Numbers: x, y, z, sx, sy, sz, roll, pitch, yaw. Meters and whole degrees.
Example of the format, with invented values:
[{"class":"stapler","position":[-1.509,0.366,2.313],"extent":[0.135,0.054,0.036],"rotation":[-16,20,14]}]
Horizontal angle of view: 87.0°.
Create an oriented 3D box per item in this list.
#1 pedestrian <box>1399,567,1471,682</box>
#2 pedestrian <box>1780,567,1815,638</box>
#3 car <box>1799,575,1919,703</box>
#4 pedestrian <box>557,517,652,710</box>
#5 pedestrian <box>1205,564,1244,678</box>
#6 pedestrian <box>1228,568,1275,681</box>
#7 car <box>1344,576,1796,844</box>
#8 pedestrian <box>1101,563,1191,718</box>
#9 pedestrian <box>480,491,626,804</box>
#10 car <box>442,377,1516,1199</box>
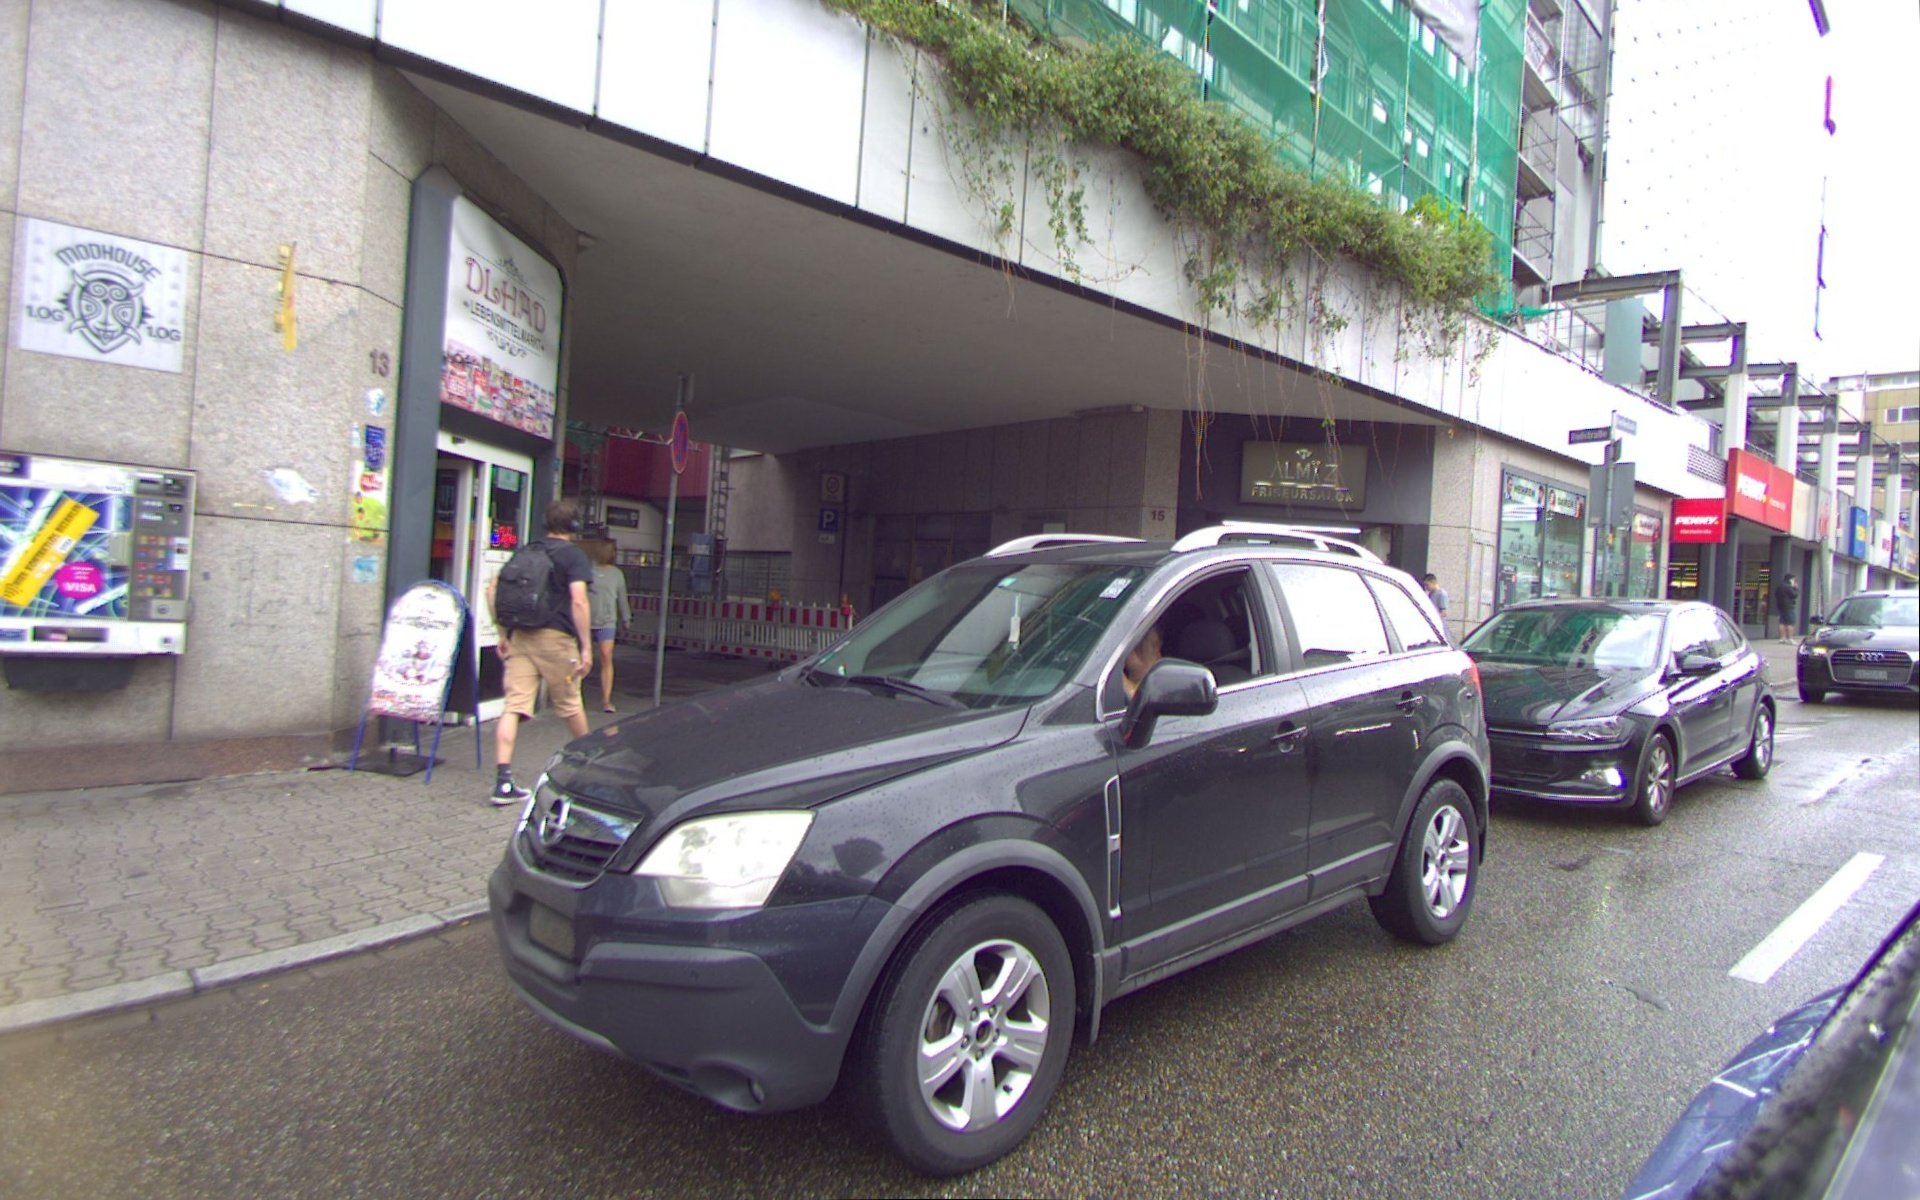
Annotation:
[{"class":"pedestrian","position":[7.059,0.344,15.050],"extent":[0.718,1.663,0.640],"rotation":[-1,1,-12]},{"class":"pedestrian","position":[20.270,0.047,24.493],"extent":[0.570,1.699,0.509],"rotation":[-1,3,-42]},{"class":"car","position":[13.612,0.475,14.402],"extent":[4.089,1.628,1.841],"rotation":[-1,1,-39]},{"class":"pedestrian","position":[-3.605,0.104,10.234],"extent":[0.729,1.837,0.774],"rotation":[0,5,-32]},{"class":"pedestrian","position":[4.073,0.312,15.613],"extent":[0.474,1.729,0.467],"rotation":[0,0,1]},{"class":"pedestrian","position":[4.272,0.346,14.834],"extent":[0.630,1.615,0.574],"rotation":[0,1,17]},{"class":"car","position":[4.829,0.644,7.770],"extent":[4.089,1.523,1.758],"rotation":[1,0,-40]},{"class":"pedestrian","position":[2.316,0.473,12.602],"extent":[0.760,1.838,0.743],"rotation":[0,3,-40]},{"class":"pedestrian","position":[-2.597,0.254,6.421],"extent":[0.757,1.837,0.745],"rotation":[0,5,-29]},{"class":"car","position":[0.421,0.470,3.991],"extent":[4.090,1.788,1.763],"rotation":[1,0,-40]}]
